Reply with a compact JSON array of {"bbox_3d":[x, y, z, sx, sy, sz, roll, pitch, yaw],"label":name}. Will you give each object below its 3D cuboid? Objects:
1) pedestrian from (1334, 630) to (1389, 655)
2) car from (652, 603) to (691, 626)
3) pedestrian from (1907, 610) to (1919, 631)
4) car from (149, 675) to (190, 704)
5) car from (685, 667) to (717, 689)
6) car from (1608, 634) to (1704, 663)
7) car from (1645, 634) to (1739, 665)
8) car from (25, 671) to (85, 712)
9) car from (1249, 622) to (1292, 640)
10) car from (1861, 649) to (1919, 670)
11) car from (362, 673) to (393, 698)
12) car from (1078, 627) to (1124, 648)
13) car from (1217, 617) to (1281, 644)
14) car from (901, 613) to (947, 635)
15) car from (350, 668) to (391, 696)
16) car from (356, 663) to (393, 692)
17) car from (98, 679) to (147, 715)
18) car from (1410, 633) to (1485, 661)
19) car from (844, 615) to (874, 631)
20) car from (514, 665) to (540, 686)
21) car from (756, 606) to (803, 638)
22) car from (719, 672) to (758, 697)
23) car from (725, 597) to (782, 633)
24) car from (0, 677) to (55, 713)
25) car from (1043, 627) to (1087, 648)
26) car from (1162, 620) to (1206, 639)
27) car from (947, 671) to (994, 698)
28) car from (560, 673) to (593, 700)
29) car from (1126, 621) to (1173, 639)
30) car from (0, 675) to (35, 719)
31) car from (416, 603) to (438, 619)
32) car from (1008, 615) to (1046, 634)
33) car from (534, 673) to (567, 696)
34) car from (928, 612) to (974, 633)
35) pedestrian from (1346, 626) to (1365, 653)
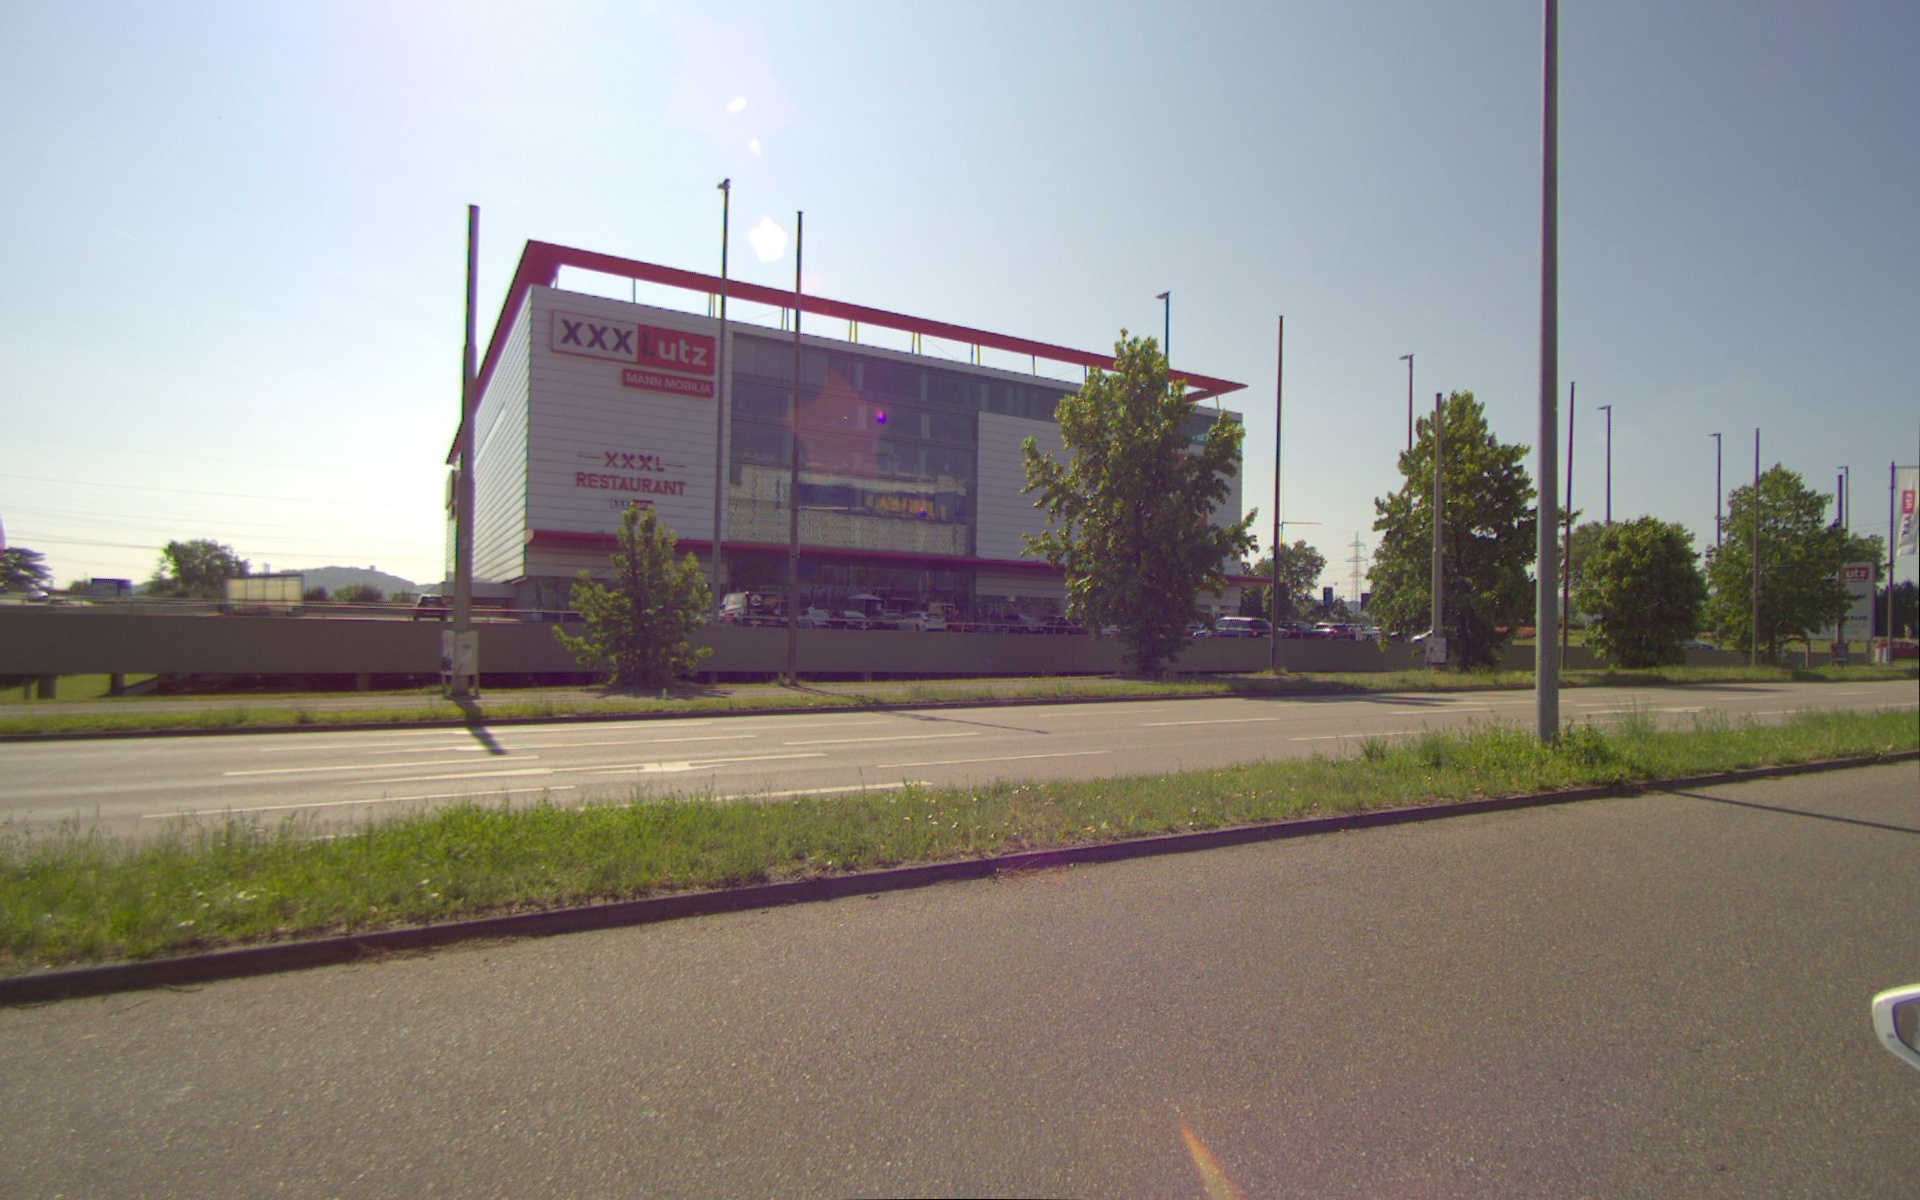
[{"bbox_3d":[34.395,3.622,86.122,3.921,2.040,2.000,1,-2,0],"label":"pedestrian"},{"bbox_3d":[-17.300,0.877,60.214,1.499,1.347,2.995,3,-2,-31],"label":"car"},{"bbox_3d":[90.204,1.931,94.956,0.906,1.998,0.714,2,-2,-26],"label":"pedestrian"},{"bbox_3d":[-31.788,3.577,40.419,1.060,1.053,1.926,1,-2,-33],"label":"car"},{"bbox_3d":[-13.306,4.000,51.596,1.060,0.988,1.926,3,-2,-33],"label":"car"},{"bbox_3d":[41.652,2.875,60.189,1.851,1.648,4.388,3,-3,-32],"label":"car"},{"bbox_3d":[45.707,3.075,62.799,1.923,1.867,4.391,2,-2,-31],"label":"car"},{"bbox_3d":[-24.063,2.413,26.754,0.857,0.988,1.832,3,-2,-33],"label":"car"},{"bbox_3d":[24.518,2.455,79.391,1.499,1.347,3.072,3,-2,-31],"label":"car"},{"bbox_3d":[76.701,4.886,82.160,1.808,1.626,4.156,3,-2,-35],"label":"car"},{"bbox_3d":[-25.608,3.727,44.160,1.060,0.988,1.926,3,-2,-33],"label":"car"},{"bbox_3d":[9.973,2.638,71.042,1.685,1.347,3.072,3,-2,-31],"label":"car"},{"bbox_3d":[12.080,1.279,42.025,1.060,1.073,2.499,3,-2,-33],"label":"car"},{"bbox_3d":[-2.291,1.497,63.048,1.499,1.347,3.197,3,-2,-31],"label":"car"},{"bbox_3d":[-15.380,2.130,26.199,0.849,0.629,1.550,3,-2,-33],"label":"car"},{"bbox_3d":[-21.679,2.853,37.183,1.060,0.988,1.926,3,-2,-33],"label":"car"},{"bbox_3d":[-26.859,3.101,32.253,0.877,0.988,1.928,1,-2,-30],"label":"car"},{"bbox_3d":[35.983,3.456,74.237,2.008,2.040,4.642,1,-2,-33],"label":"car"},{"bbox_3d":[-6.063,1.383,60.316,1.060,0.988,1.926,1,-2,-33],"label":"car"},{"bbox_3d":[-22.814,3.962,52.877,0.950,0.988,1.926,3,-2,-33],"label":"car"},{"bbox_3d":[-10.452,1.267,58.174,1.673,1.781,3.072,3,-2,-31],"label":"car"},{"bbox_3d":[-9.825,3.720,44.456,1.060,0.988,1.926,3,-2,-33],"label":"car"},{"bbox_3d":[-9.543,0.722,46.362,1.754,1.577,2.753,1,-2,-31],"label":"car"},{"bbox_3d":[-29.047,2.932,31.188,1.059,0.988,1.927,1,-2,-32],"label":"car"},{"bbox_3d":[7.275,2.588,69.892,1.499,1.347,3.072,3,-2,-31],"label":"car"},{"bbox_3d":[16.681,2.168,74.771,1.499,1.347,3.072,3,-2,-31],"label":"car"},{"bbox_3d":[0.408,3.459,41.280,1.060,0.988,1.926,3,-2,-33],"label":"car"},{"bbox_3d":[-15.649,3.509,40.987,0.901,0.988,1.926,1,-1,-33],"label":"car"},{"bbox_3d":[13.854,2.200,73.475,1.464,1.214,3.481,3,-2,-31],"label":"car"},{"bbox_3d":[-21.528,2.164,22.591,0.784,0.894,1.492,3,-2,-33],"label":"car"},{"bbox_3d":[-33.093,0.686,62.363,1.060,0.988,1.926,3,-2,-33],"label":"car"},{"bbox_3d":[4.922,1.824,74.105,1.286,1.347,3.118,3,-2,-31],"label":"car"},{"bbox_3d":[-19.496,3.996,47.798,1.060,0.988,1.926,3,-2,-33],"label":"car"},{"bbox_3d":[-0.605,1.466,65.197,1.499,1.347,3.197,3,-2,-31],"label":"car"},{"bbox_3d":[30.461,3.052,77.403,1.005,2.040,0.861,0,-2,-16],"label":"pedestrian"}]
